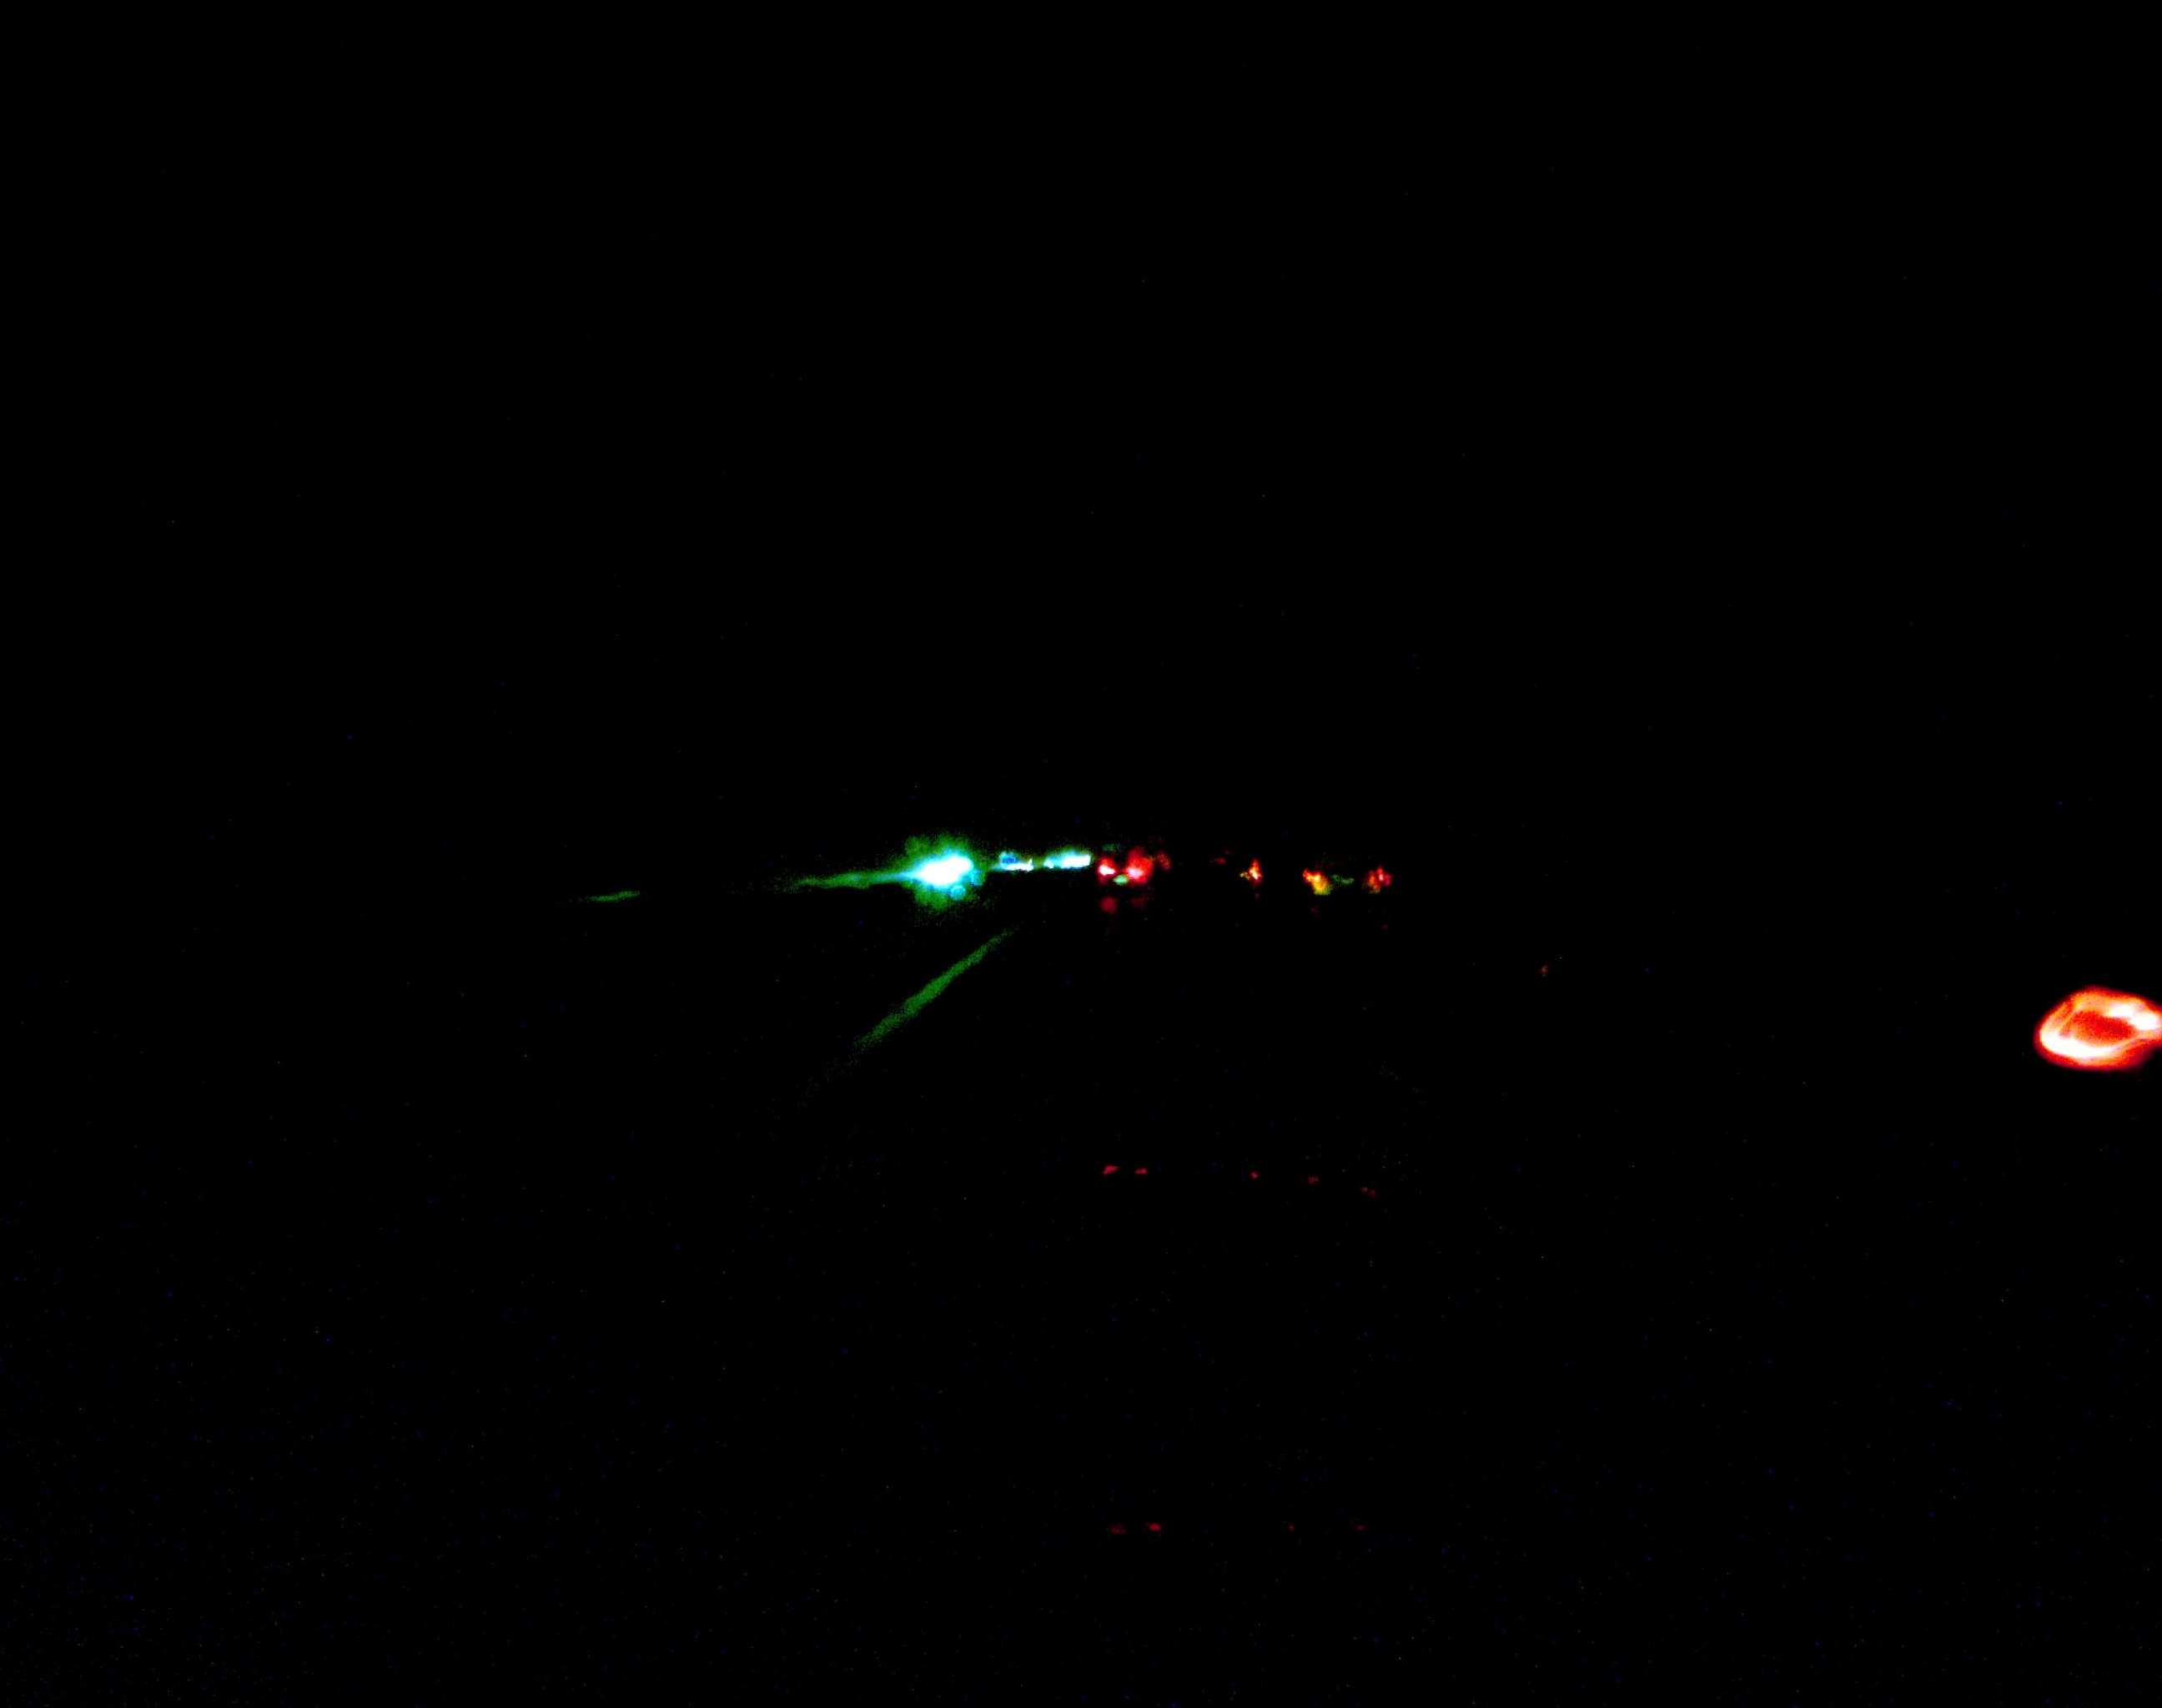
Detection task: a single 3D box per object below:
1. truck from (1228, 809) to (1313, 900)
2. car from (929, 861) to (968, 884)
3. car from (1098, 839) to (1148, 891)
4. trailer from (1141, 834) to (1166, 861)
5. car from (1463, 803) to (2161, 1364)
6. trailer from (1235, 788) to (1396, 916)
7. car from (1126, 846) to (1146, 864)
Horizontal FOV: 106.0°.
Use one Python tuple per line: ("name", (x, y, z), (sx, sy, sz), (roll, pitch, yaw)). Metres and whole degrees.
("truck", (9.386, 0.026, 41.096), (2.892, 4.108, 6.033), (-3, 0, 2))
("car", (-10.479, 1.431, 64.668), (1.986, 1.739, 5.238), (1, 0, 2))
("car", (1.747, 0.472, 34.146), (1.985, 2.014, 4.002), (0, -1, 2))
("trailer", (12.104, -0.998, 137.405), (3.031, 4.108, 13.828), (-3, -1, 1))
("car", (3.953, 0.648, 4.410), (1.734, 1.575, 4.495), (-1, -1, 2))
("trailer", (9.135, -0.039, 34.194), (2.892, 4.108, 14.494), (-3, 0, 2))
("car", (6.874, 0.147, 101.787), (1.988, 2.014, 3.997), (-3, -1, -1))
